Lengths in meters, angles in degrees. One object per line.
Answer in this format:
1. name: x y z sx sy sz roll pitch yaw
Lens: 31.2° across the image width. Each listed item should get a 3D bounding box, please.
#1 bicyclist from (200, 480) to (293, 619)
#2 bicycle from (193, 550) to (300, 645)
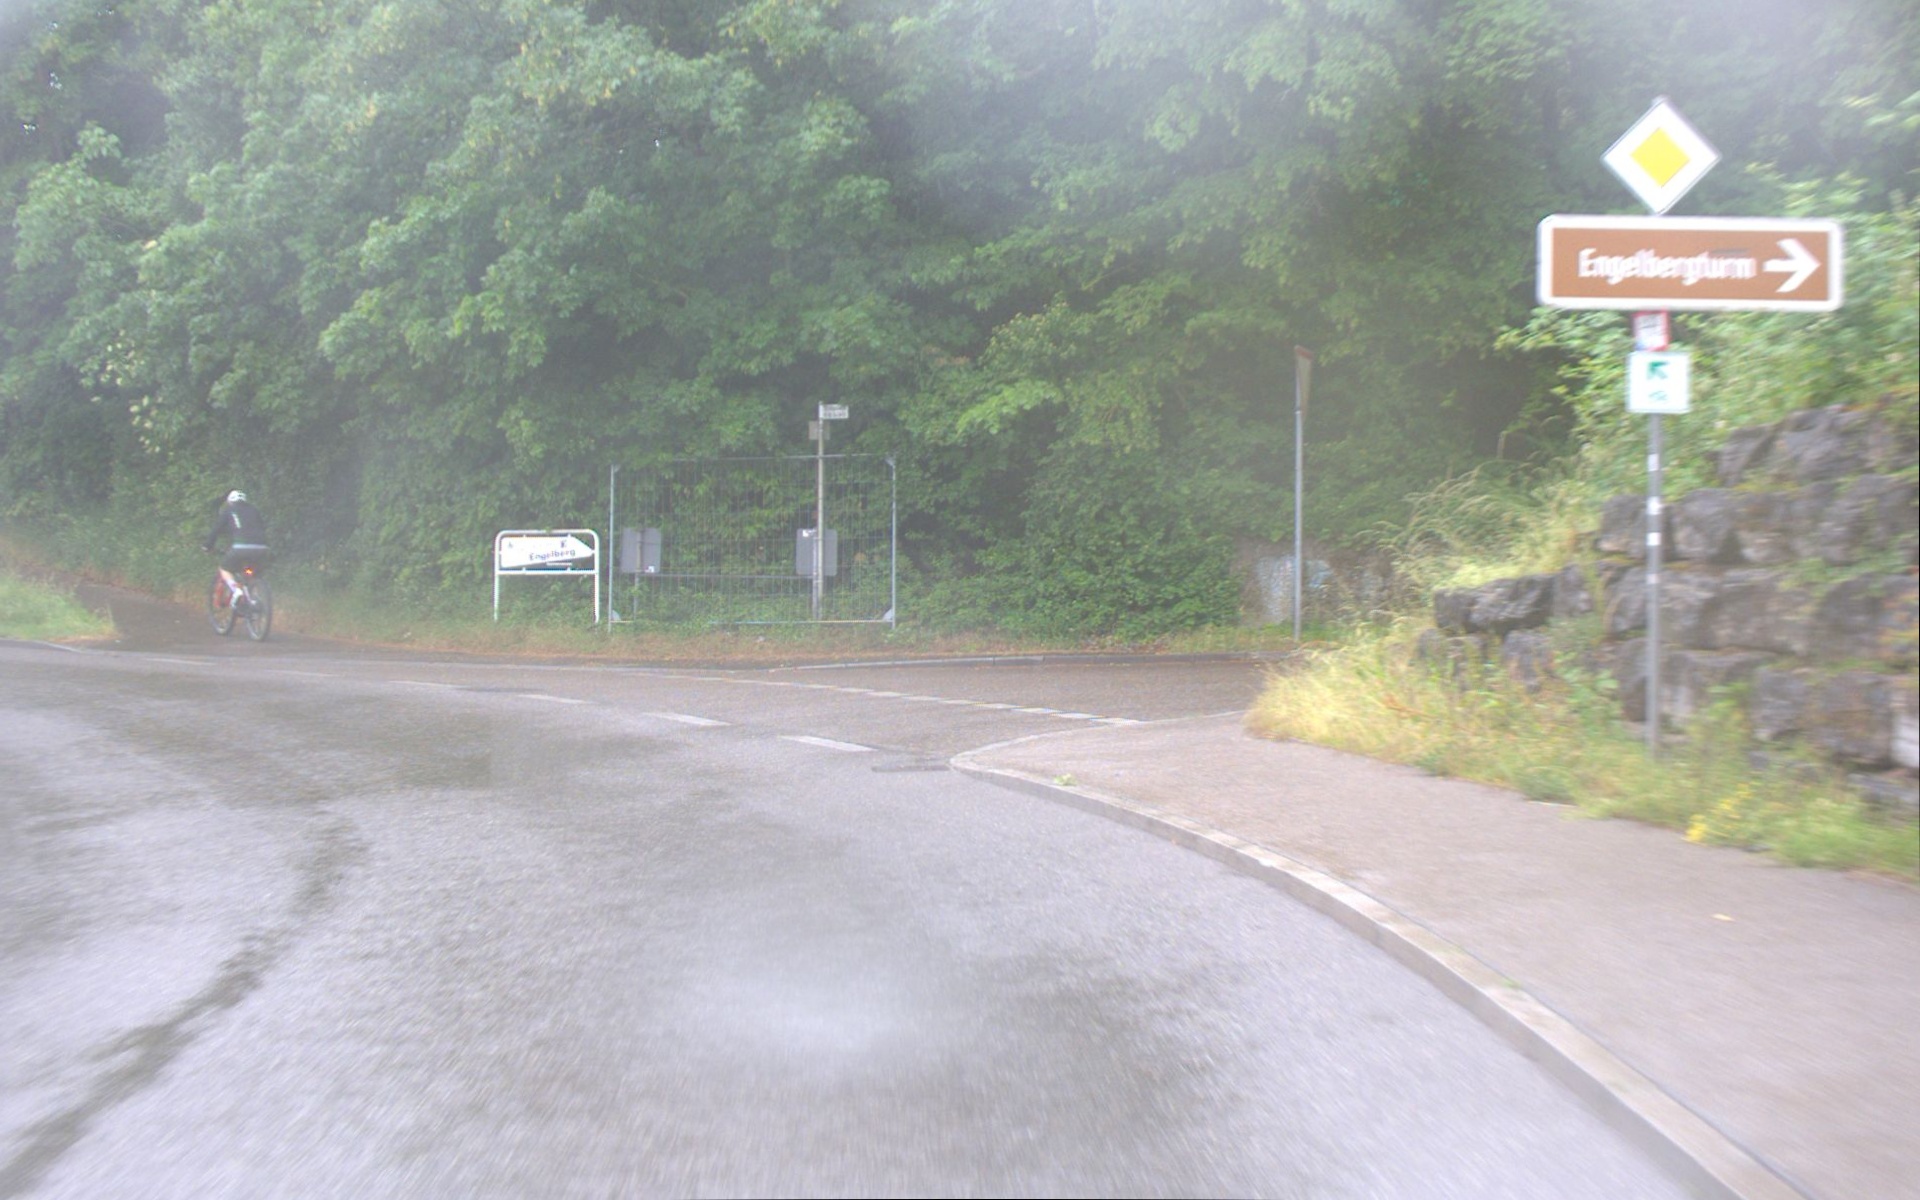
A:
1. bicyclist: -8.428 -0.599 40.608 0.720 1.609 0.905 0 1 -39
2. bicycle: -8.447 -0.037 40.666 0.527 1.081 1.620 0 1 -40
